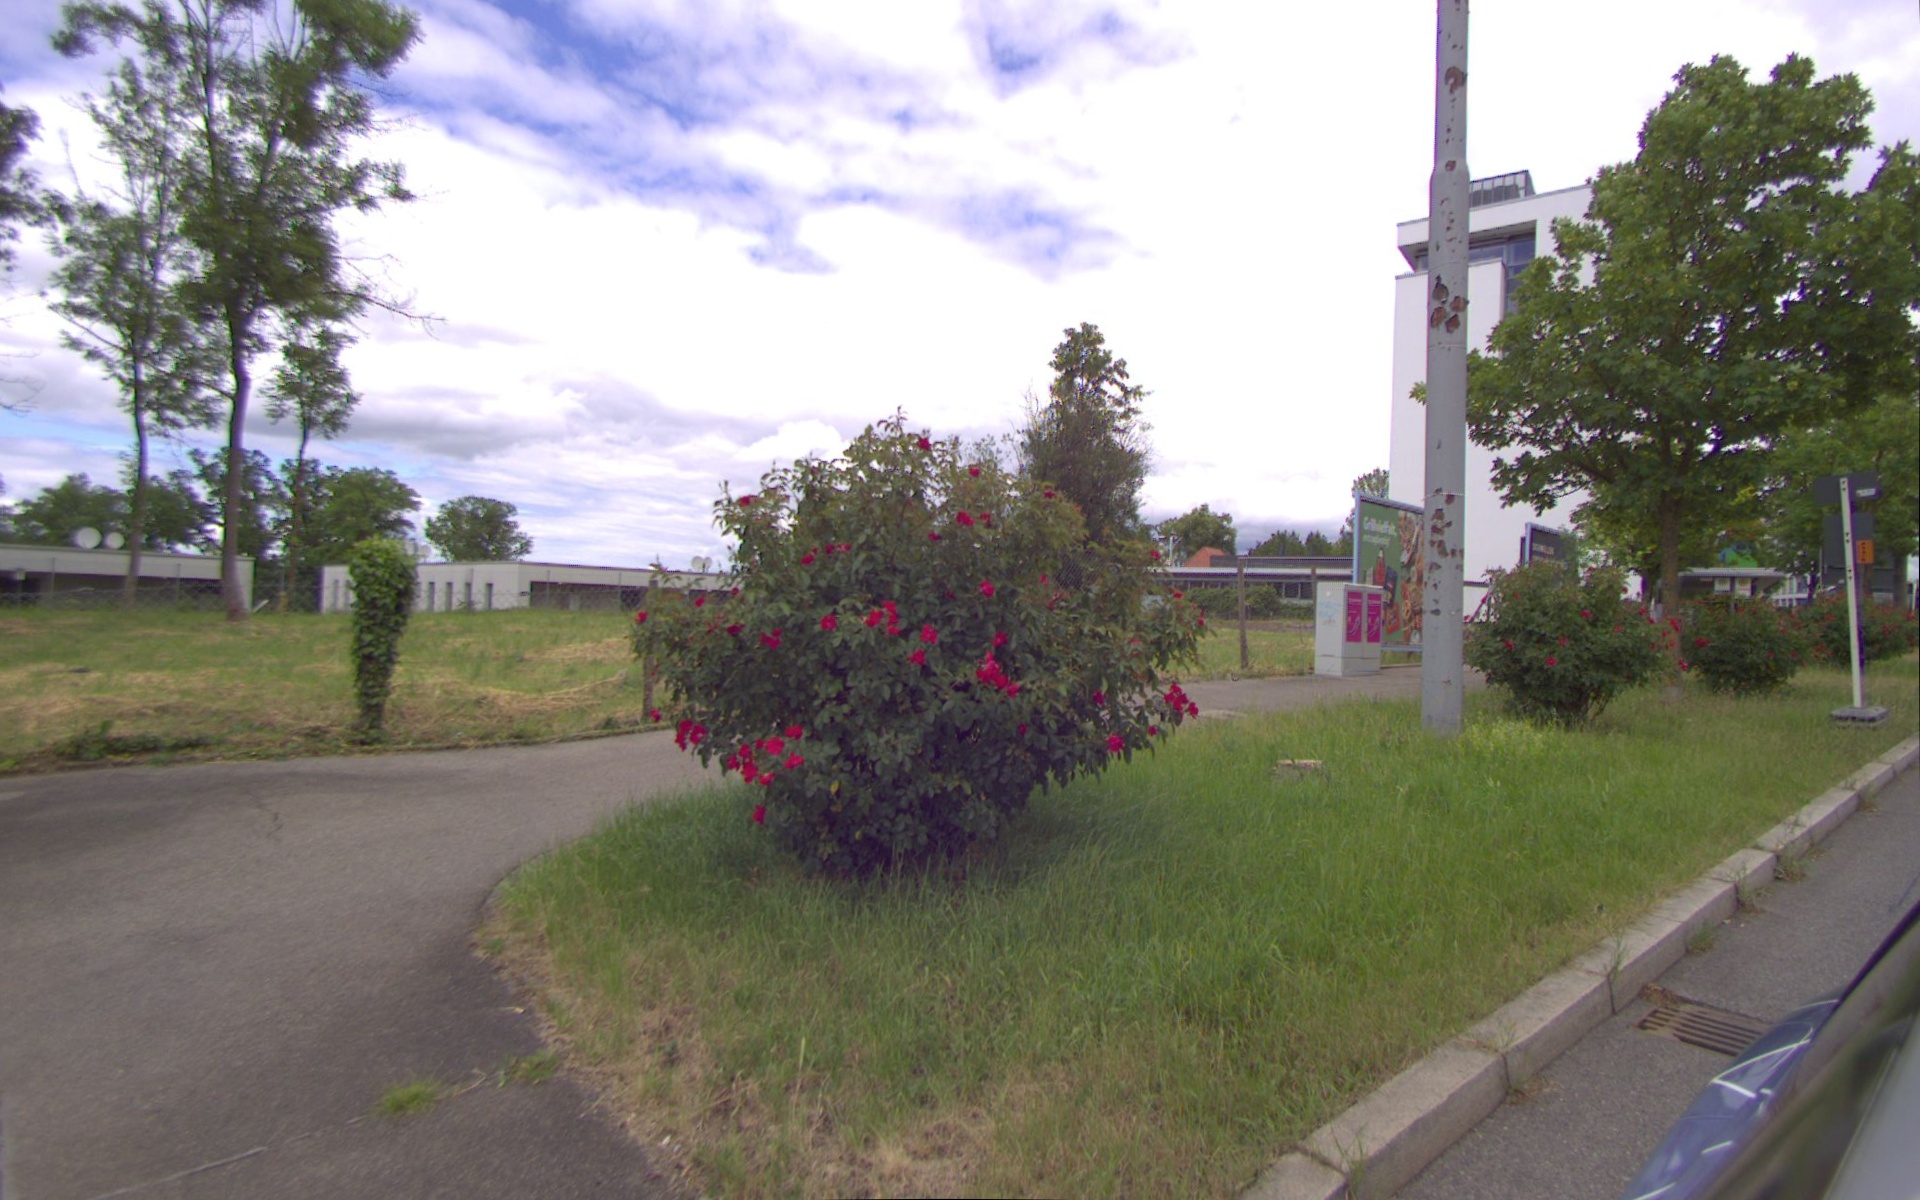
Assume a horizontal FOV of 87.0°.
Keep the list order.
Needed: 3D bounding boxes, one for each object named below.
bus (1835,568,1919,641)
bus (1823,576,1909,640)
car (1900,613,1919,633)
[{"bbox_3d":[45.788,0.280,50.294,2.708,3.202,9.002,5,2,37],"label":"bus"},{"bbox_3d":[51.187,0.486,57.356,2.708,3.146,8.748,6,2,37],"label":"bus"},{"bbox_3d":[74.001,1.785,77.887,1.989,1.393,3.946,1,1,37],"label":"car"}]
